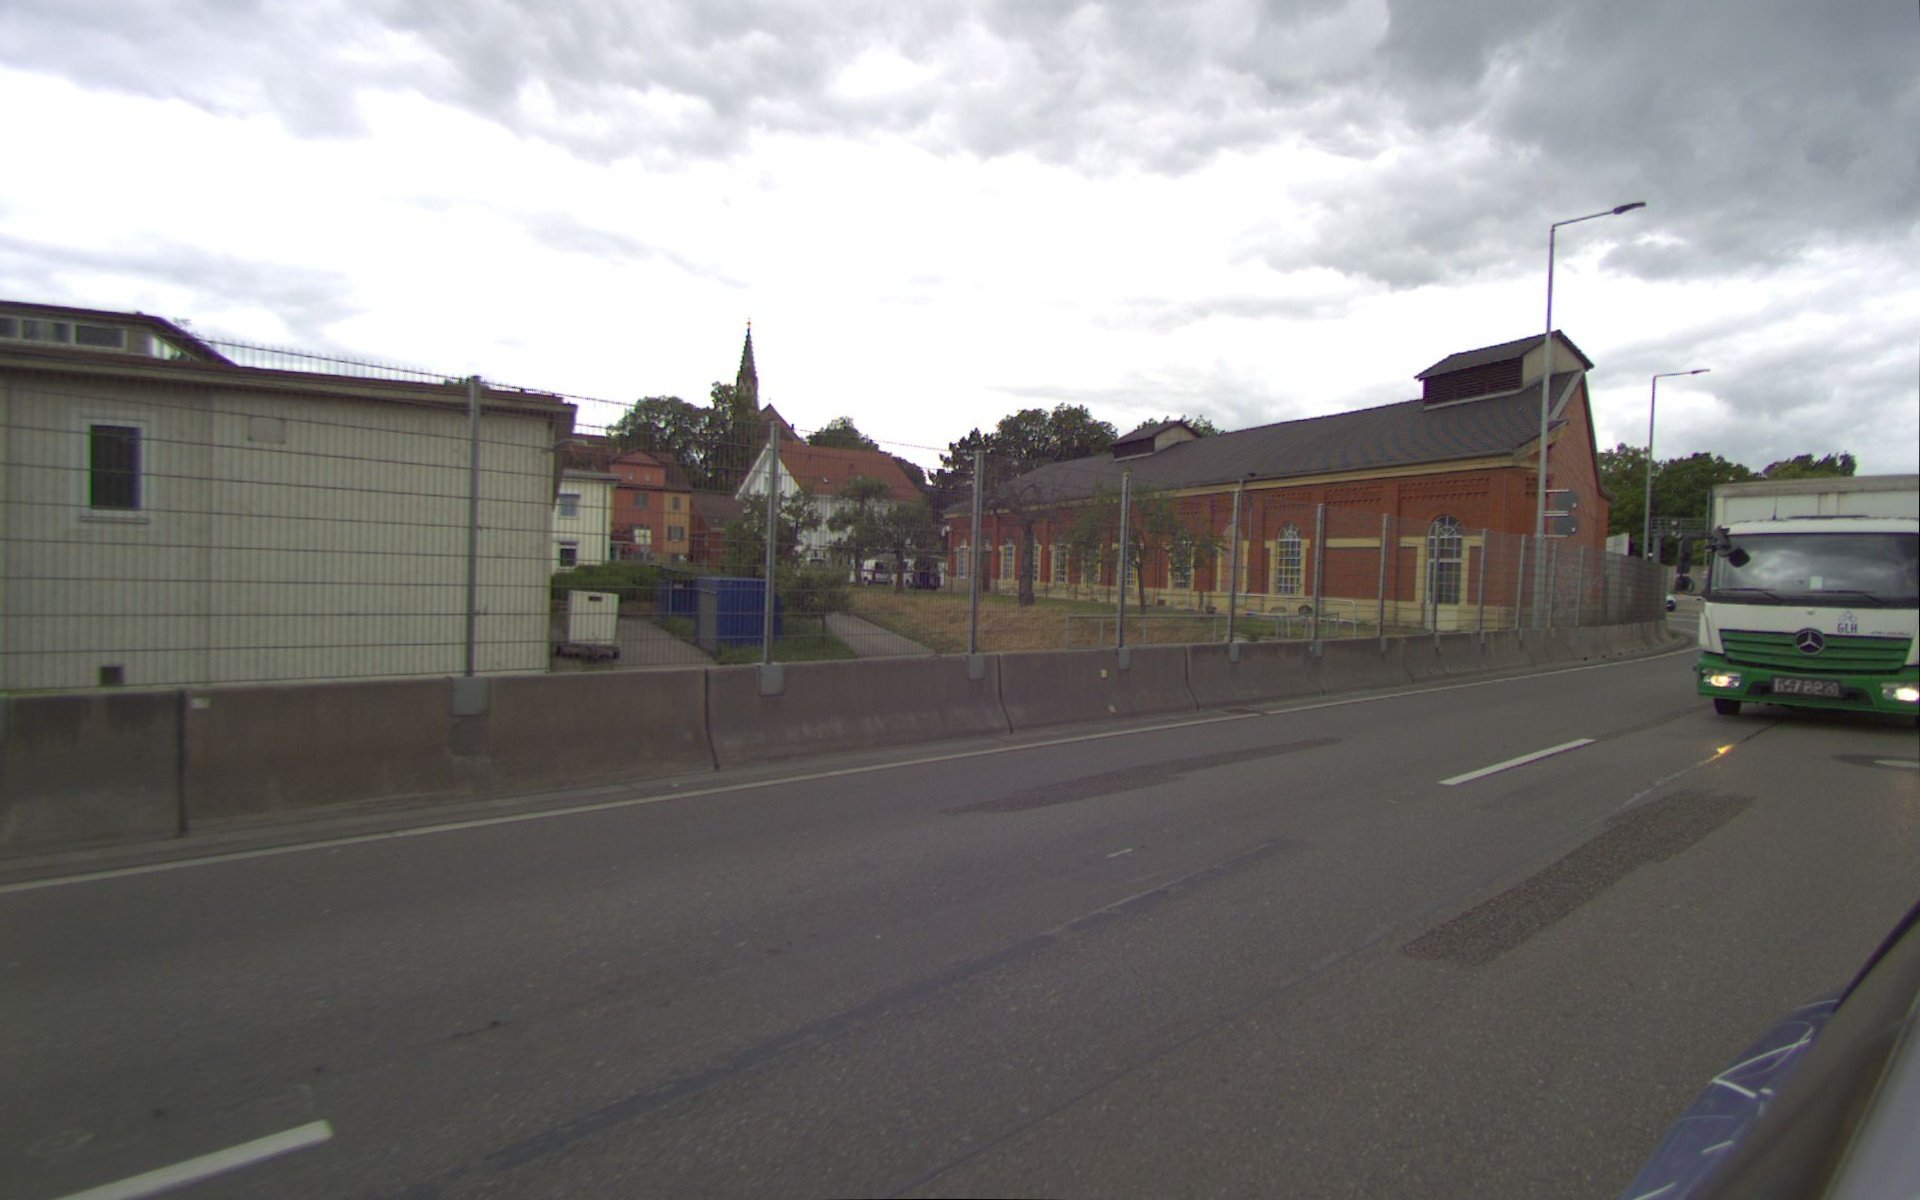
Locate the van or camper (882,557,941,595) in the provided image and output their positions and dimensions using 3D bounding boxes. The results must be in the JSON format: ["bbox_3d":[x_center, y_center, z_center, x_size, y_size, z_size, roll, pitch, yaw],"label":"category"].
[{"bbox_3d":[-2.991,-1.433,61.084,1.958,2.172,4.579,0,1,-25],"label":"van or camper"}]

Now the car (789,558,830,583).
[{"bbox_3d":[-11.304,-2.219,75.614,1.959,1.805,4.008,0,1,-25],"label":"car"}]

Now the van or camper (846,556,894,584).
[{"bbox_3d":[-6.673,-2.207,74.621,1.866,2.039,4.504,0,1,-28],"label":"van or camper"}]

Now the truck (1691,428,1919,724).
[{"bbox_3d":[12.781,-0.258,14.308,7.291,3.280,2.632,0,-1,-43],"label":"truck"}]

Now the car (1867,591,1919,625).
[{"bbox_3d":[43.713,0.353,46.770,1.808,1.466,3.577,1,1,28],"label":"car"}]

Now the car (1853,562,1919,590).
[{"bbox_3d":[63.162,-1.631,68.996,1.938,1.829,5.739,0,1,27],"label":"car"}]

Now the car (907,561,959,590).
[{"bbox_3d":[-1.769,-1.584,65.090,1.958,1.805,4.008,0,1,-25],"label":"car"}]
